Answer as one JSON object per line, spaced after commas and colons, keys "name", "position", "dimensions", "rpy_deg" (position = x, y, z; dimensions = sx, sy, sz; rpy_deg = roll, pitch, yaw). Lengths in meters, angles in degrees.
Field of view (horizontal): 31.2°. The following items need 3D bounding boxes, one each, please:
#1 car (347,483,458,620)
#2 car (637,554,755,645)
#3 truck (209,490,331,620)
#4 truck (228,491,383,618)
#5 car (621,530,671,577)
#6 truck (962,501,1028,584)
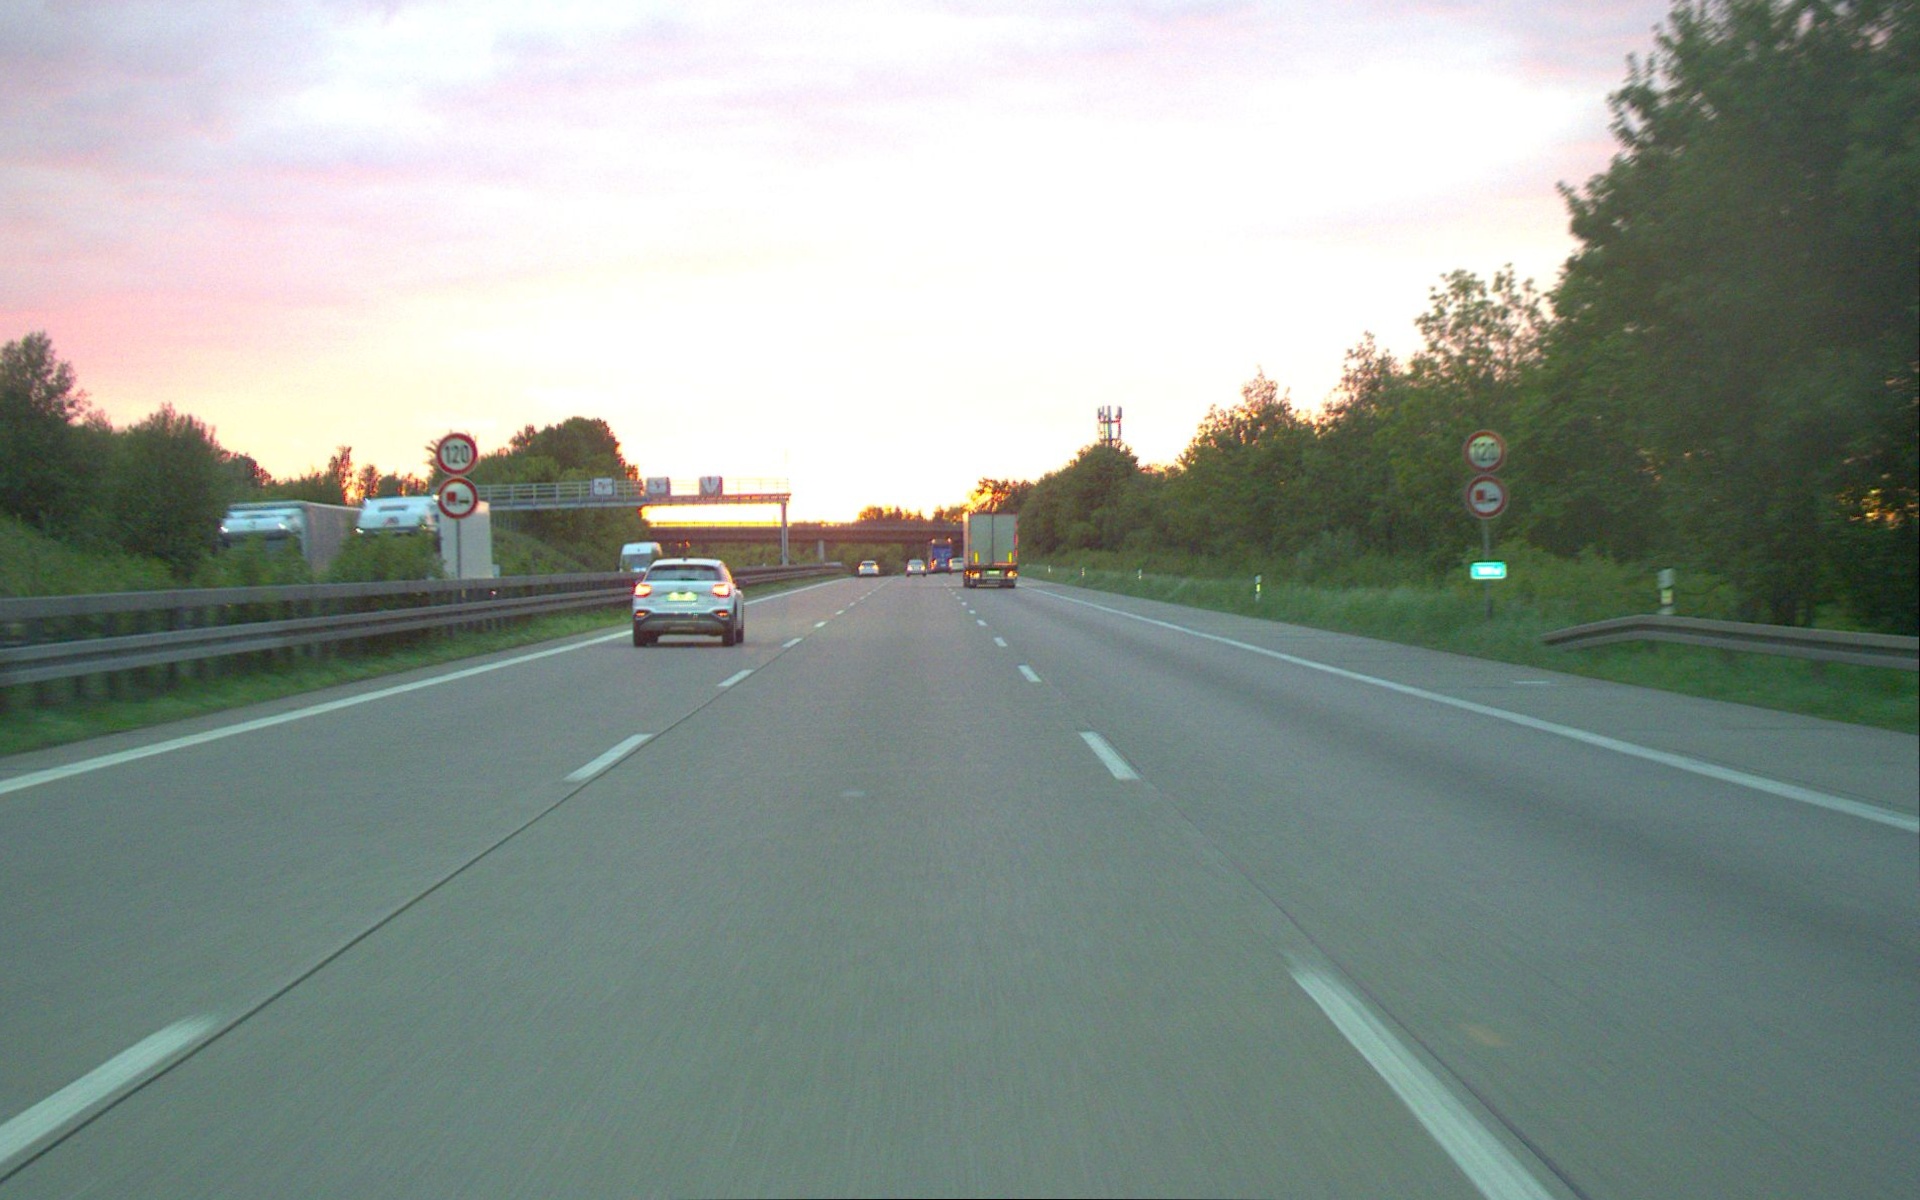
{"name": "car", "position": [-18.705, -1.606, 115.588], "dimensions": [2.798, 4.472, 5.930], "rpy_deg": [0, 1, -1]}
{"name": "car", "position": [-4.634, -0.043, 60.916], "dimensions": [1.789, 1.495, 5.038], "rpy_deg": [1, 1, -1]}
{"name": "truck", "position": [-23.011, -1.501, 114.871], "dimensions": [2.856, 4.196, 5.864], "rpy_deg": [-1, 1, 0]}
{"name": "truck", "position": [-23.020, -1.598, 121.664], "dimensions": [2.895, 4.196, 13.601], "rpy_deg": [-1, 1, 0]}
{"name": "car", "position": [-15.747, -2.321, 172.800], "dimensions": [1.993, 2.279, 6.339], "rpy_deg": [-1, 1, -1]}
{"name": "truck", "position": [1.855, -2.968, 179.168], "dimensions": [3.244, 4.113, 9.786], "rpy_deg": [-1, 1, 1]}
